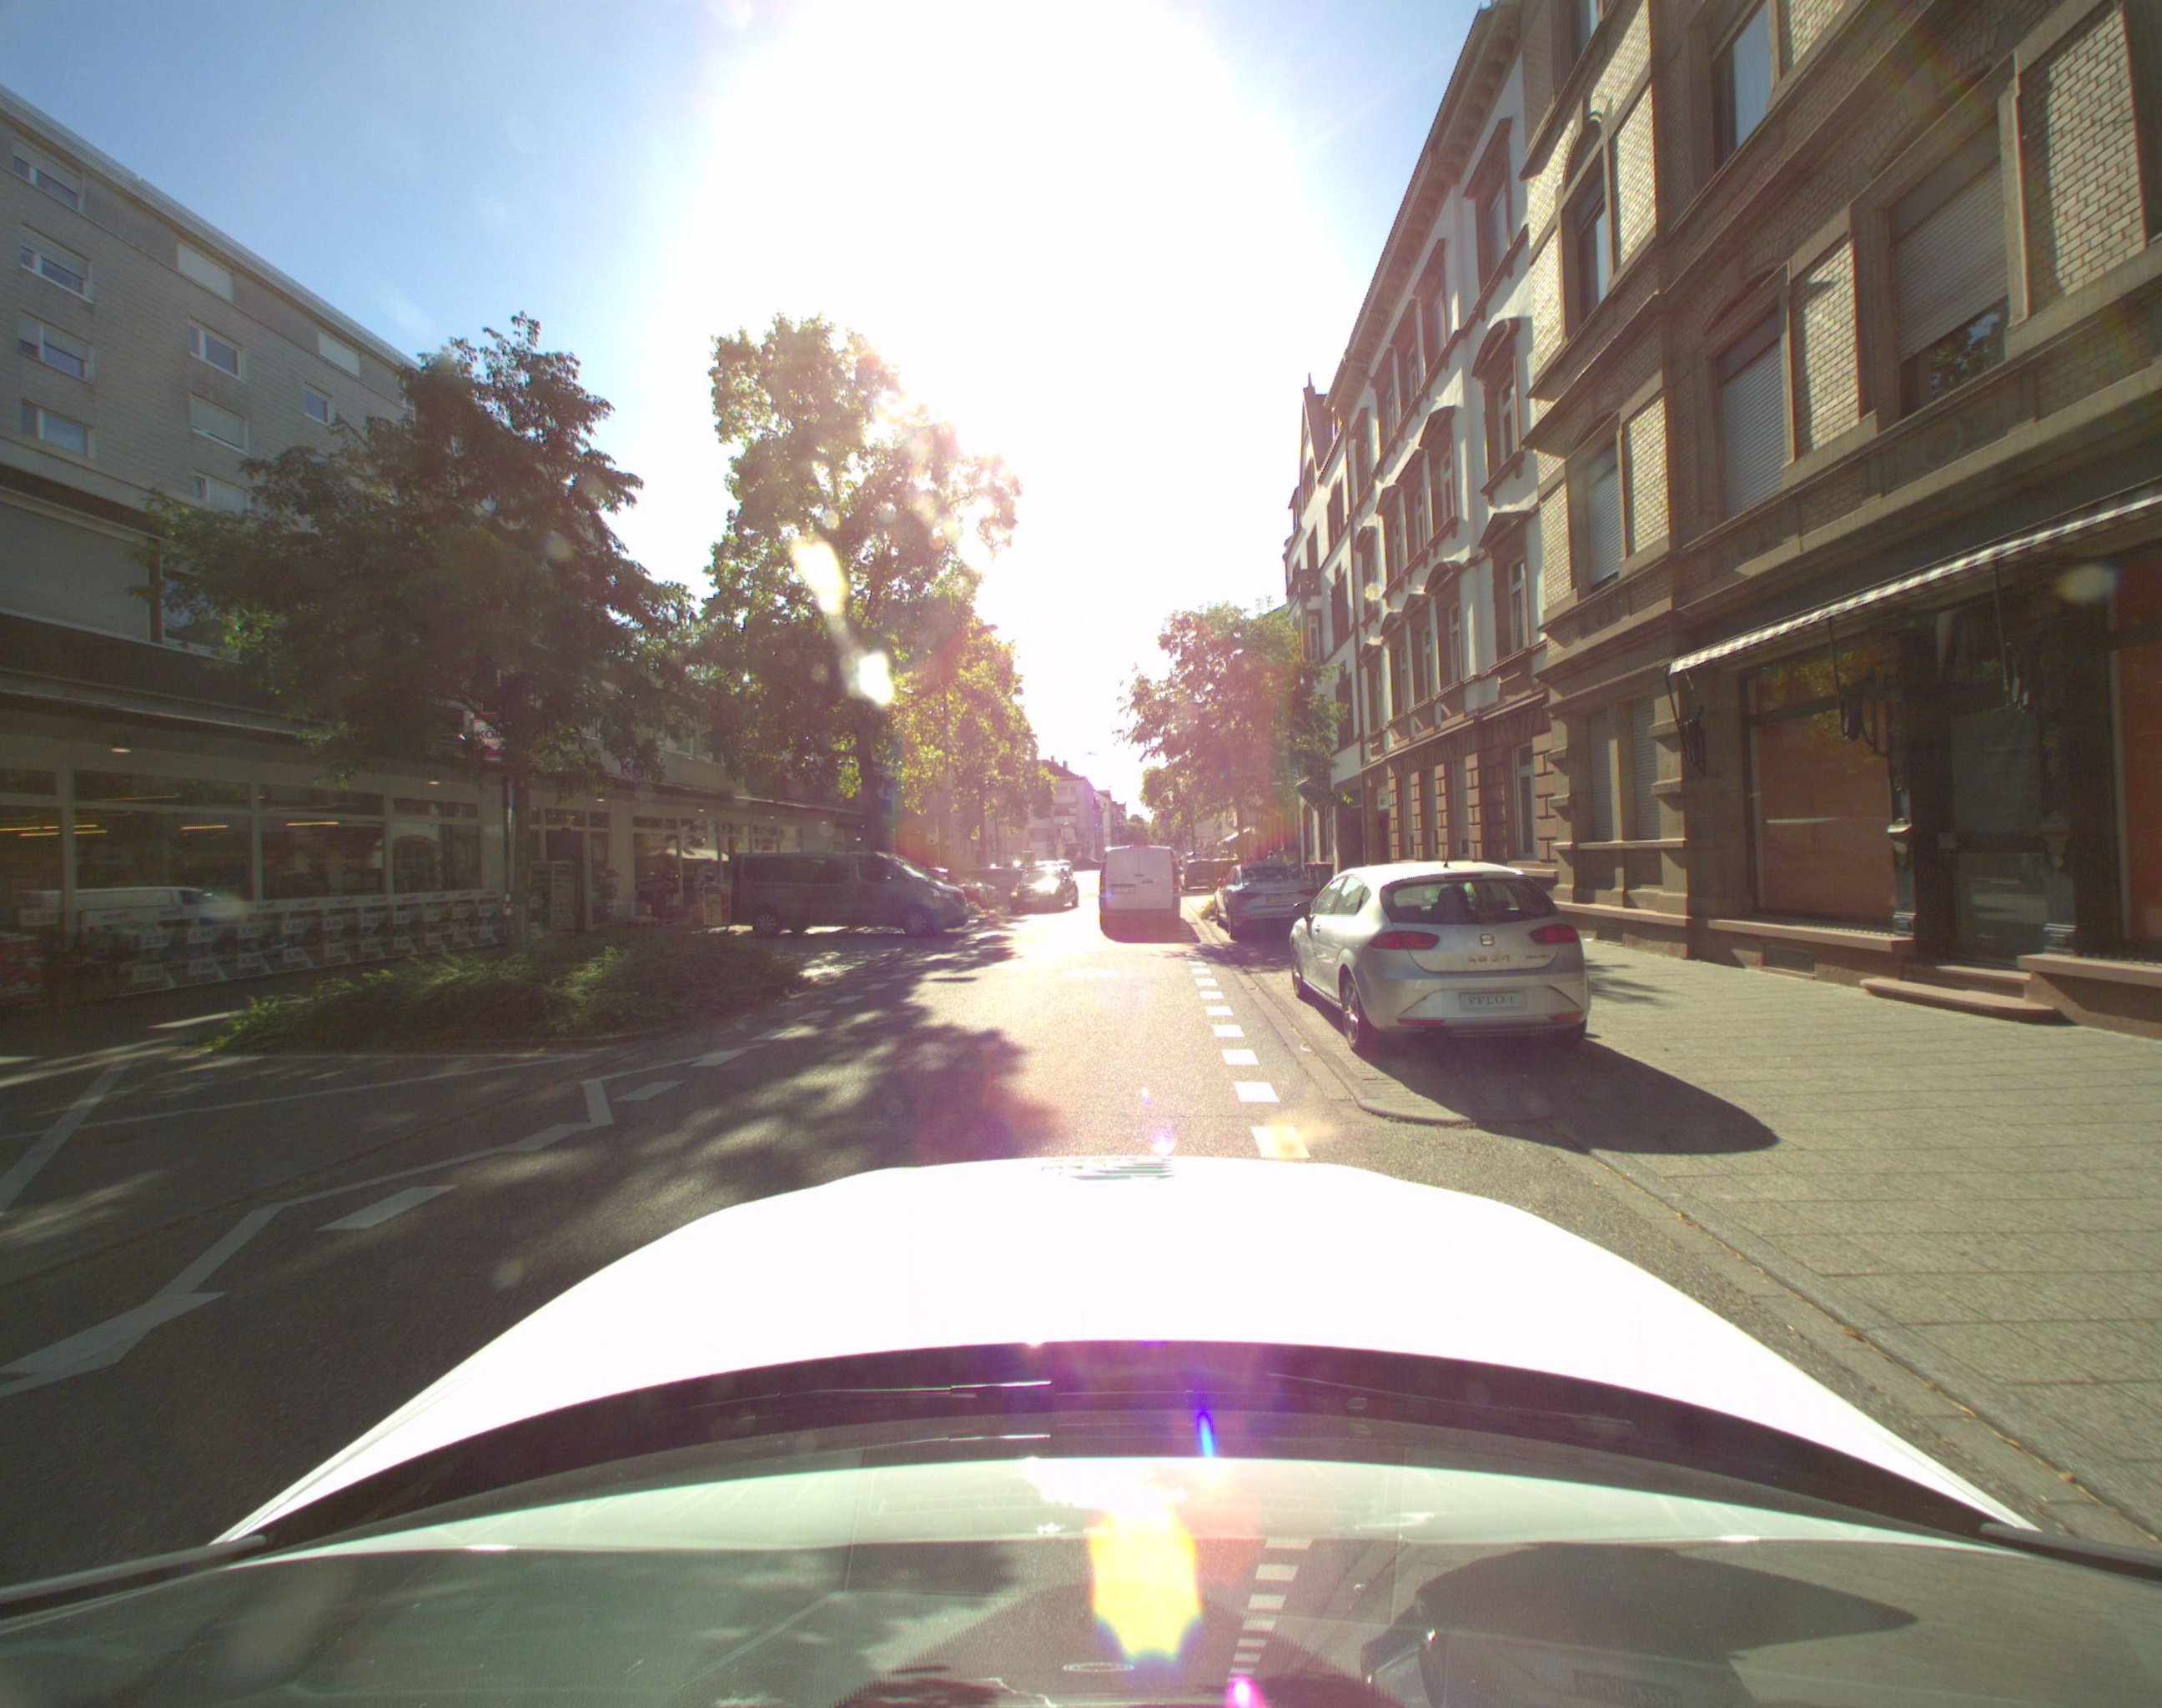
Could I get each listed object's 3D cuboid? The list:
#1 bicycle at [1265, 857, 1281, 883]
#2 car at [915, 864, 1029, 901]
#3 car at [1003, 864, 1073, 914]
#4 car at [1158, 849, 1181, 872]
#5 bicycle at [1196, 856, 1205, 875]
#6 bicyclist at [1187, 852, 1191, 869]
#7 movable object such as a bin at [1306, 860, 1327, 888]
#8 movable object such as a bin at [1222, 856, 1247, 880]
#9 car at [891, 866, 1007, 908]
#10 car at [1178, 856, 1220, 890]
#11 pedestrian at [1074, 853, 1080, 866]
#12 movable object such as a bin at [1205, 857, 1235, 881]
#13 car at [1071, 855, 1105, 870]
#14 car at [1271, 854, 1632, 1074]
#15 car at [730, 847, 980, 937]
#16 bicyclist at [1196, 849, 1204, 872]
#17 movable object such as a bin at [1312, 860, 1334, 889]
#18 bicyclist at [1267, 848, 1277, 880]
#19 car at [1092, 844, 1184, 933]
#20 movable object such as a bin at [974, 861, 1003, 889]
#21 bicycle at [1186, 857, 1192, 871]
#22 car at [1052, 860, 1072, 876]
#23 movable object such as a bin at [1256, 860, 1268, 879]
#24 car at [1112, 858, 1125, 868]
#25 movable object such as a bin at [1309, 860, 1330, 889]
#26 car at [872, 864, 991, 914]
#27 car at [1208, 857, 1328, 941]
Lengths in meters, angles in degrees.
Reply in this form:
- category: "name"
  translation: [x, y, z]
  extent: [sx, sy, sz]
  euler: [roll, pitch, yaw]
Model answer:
- category: "bicycle"
  translation: [9.016, 0.736, 38.334]
  extent: [0.533, 1.149, 2.130]
  euler: [-5, -1, 10]
- category: "car"
  translation: [-4.411, 1.147, 33.273]
  extent: [4.282, 1.460, 1.765]
  euler: [0, 0, 6]
- category: "car"
  translation: [-1.381, 1.115, 27.491]
  extent: [1.754, 1.438, 3.965]
  euler: [-3, -1, 5]
- category: "car"
  translation: [7.947, 0.600, 73.377]
  extent: [1.808, 1.921, 4.648]
  euler: [-2, 0, 4]
- category: "bicycle"
  translation: [8.052, 0.757, 55.092]
  extent: [0.473, 1.274, 1.219]
  euler: [-2, 0, 4]
- category: "bicyclist"
  translation: [10.570, 0.644, 79.834]
  extent: [0.354, 1.575, 0.482]
  euler: [-1, -1, 1]
- category: "movable object such as a bin"
  translation: [9.087, 0.767, 31.423]
  extent: [0.635, 1.069, 0.633]
  euler: [-2, 0, 4]
- category: "movable object such as a bin"
  translation: [9.143, 0.831, 48.555]
  extent: [1.028, 1.347, 1.115]
  euler: [-2, 0, 43]
- category: "car"
  translation: [-4.907, 1.212, 30.609]
  extent: [3.972, 1.463, 1.813]
  euler: [-1, 0, 1]
- category: "car"
  translation: [5.699, 0.892, 39.693]
  extent: [1.629, 1.476, 3.583]
  euler: [-2, 0, 3]
- category: "pedestrian"
  translation: [-0.551, 0.668, 104.716]
  extent: [0.681, 1.663, 0.602]
  euler: [-2, 0, 3]
- category: "movable object such as a bin"
  translation: [8.117, 0.878, 47.487]
  extent: [1.277, 1.348, 1.096]
  euler: [-2, -1, -38]
- category: "car"
  translation: [0.809, 0.993, 96.416]
  extent: [3.972, 1.640, 2.000]
  euler: [-2, 0, 1]
- category: "car"
  translation: [2.988, 0.759, 7.564]
  extent: [1.731, 1.451, 4.004]
  euler: [-2, 0, 4]
- category: "car"
  translation: [-5.191, 0.861, 19.159]
  extent: [5.268, 1.974, 2.018]
  euler: [-1, 0, 4]
- category: "bicyclist"
  translation: [8.050, 0.451, 55.162]
  extent: [0.437, 1.508, 0.497]
  euler: [-2, -1, 4]
- category: "movable object such as a bin"
  translation: [9.003, 0.761, 30.269]
  extent: [0.635, 1.069, 0.640]
  euler: [-2, 0, 4]
- category: "bicyclist"
  translation: [8.988, 0.482, 38.372]
  extent: [0.359, 1.477, 0.531]
  euler: [-1, -1, 7]
- category: "car"
  translation: [1.290, 0.749, 20.328]
  extent: [1.915, 1.914, 4.886]
  euler: [-1, 0, 0]
- category: "movable object such as a bin"
  translation: [-5.011, 1.109, 44.084]
  extent: [1.222, 1.450, 1.080]
  euler: [-2, -1, 13]
- category: "bicycle"
  translation: [10.588, 0.999, 79.664]
  extent: [0.414, 1.310, 1.336]
  euler: [-2, 0, 2]
- category: "car"
  translation: [-1.796, 1.289, 78.747]
  extent: [1.646, 1.479, 4.004]
  euler: [0, 0, 4]
- category: "movable object such as a bin"
  translation: [10.492, 0.899, 47.234]
  extent: [0.595, 1.042, 0.546]
  euler: [-2, 0, 4]
- category: "car"
  translation: [5.177, 1.244, 112.412]
  extent: [1.611, 1.398, 3.736]
  euler: [-2, 0, 5]
- category: "movable object such as a bin"
  translation: [9.048, 0.766, 30.857]
  extent: [0.635, 1.069, 0.522]
  euler: [-2, 0, 4]
- category: "car"
  translation: [-4.963, 1.152, 27.361]
  extent: [3.581, 1.552, 1.686]
  euler: [-1, -1, 5]
- category: "car"
  translation: [3.733, 0.828, 16.934]
  extent: [1.731, 1.451, 4.312]
  euler: [-3, 0, 4]
